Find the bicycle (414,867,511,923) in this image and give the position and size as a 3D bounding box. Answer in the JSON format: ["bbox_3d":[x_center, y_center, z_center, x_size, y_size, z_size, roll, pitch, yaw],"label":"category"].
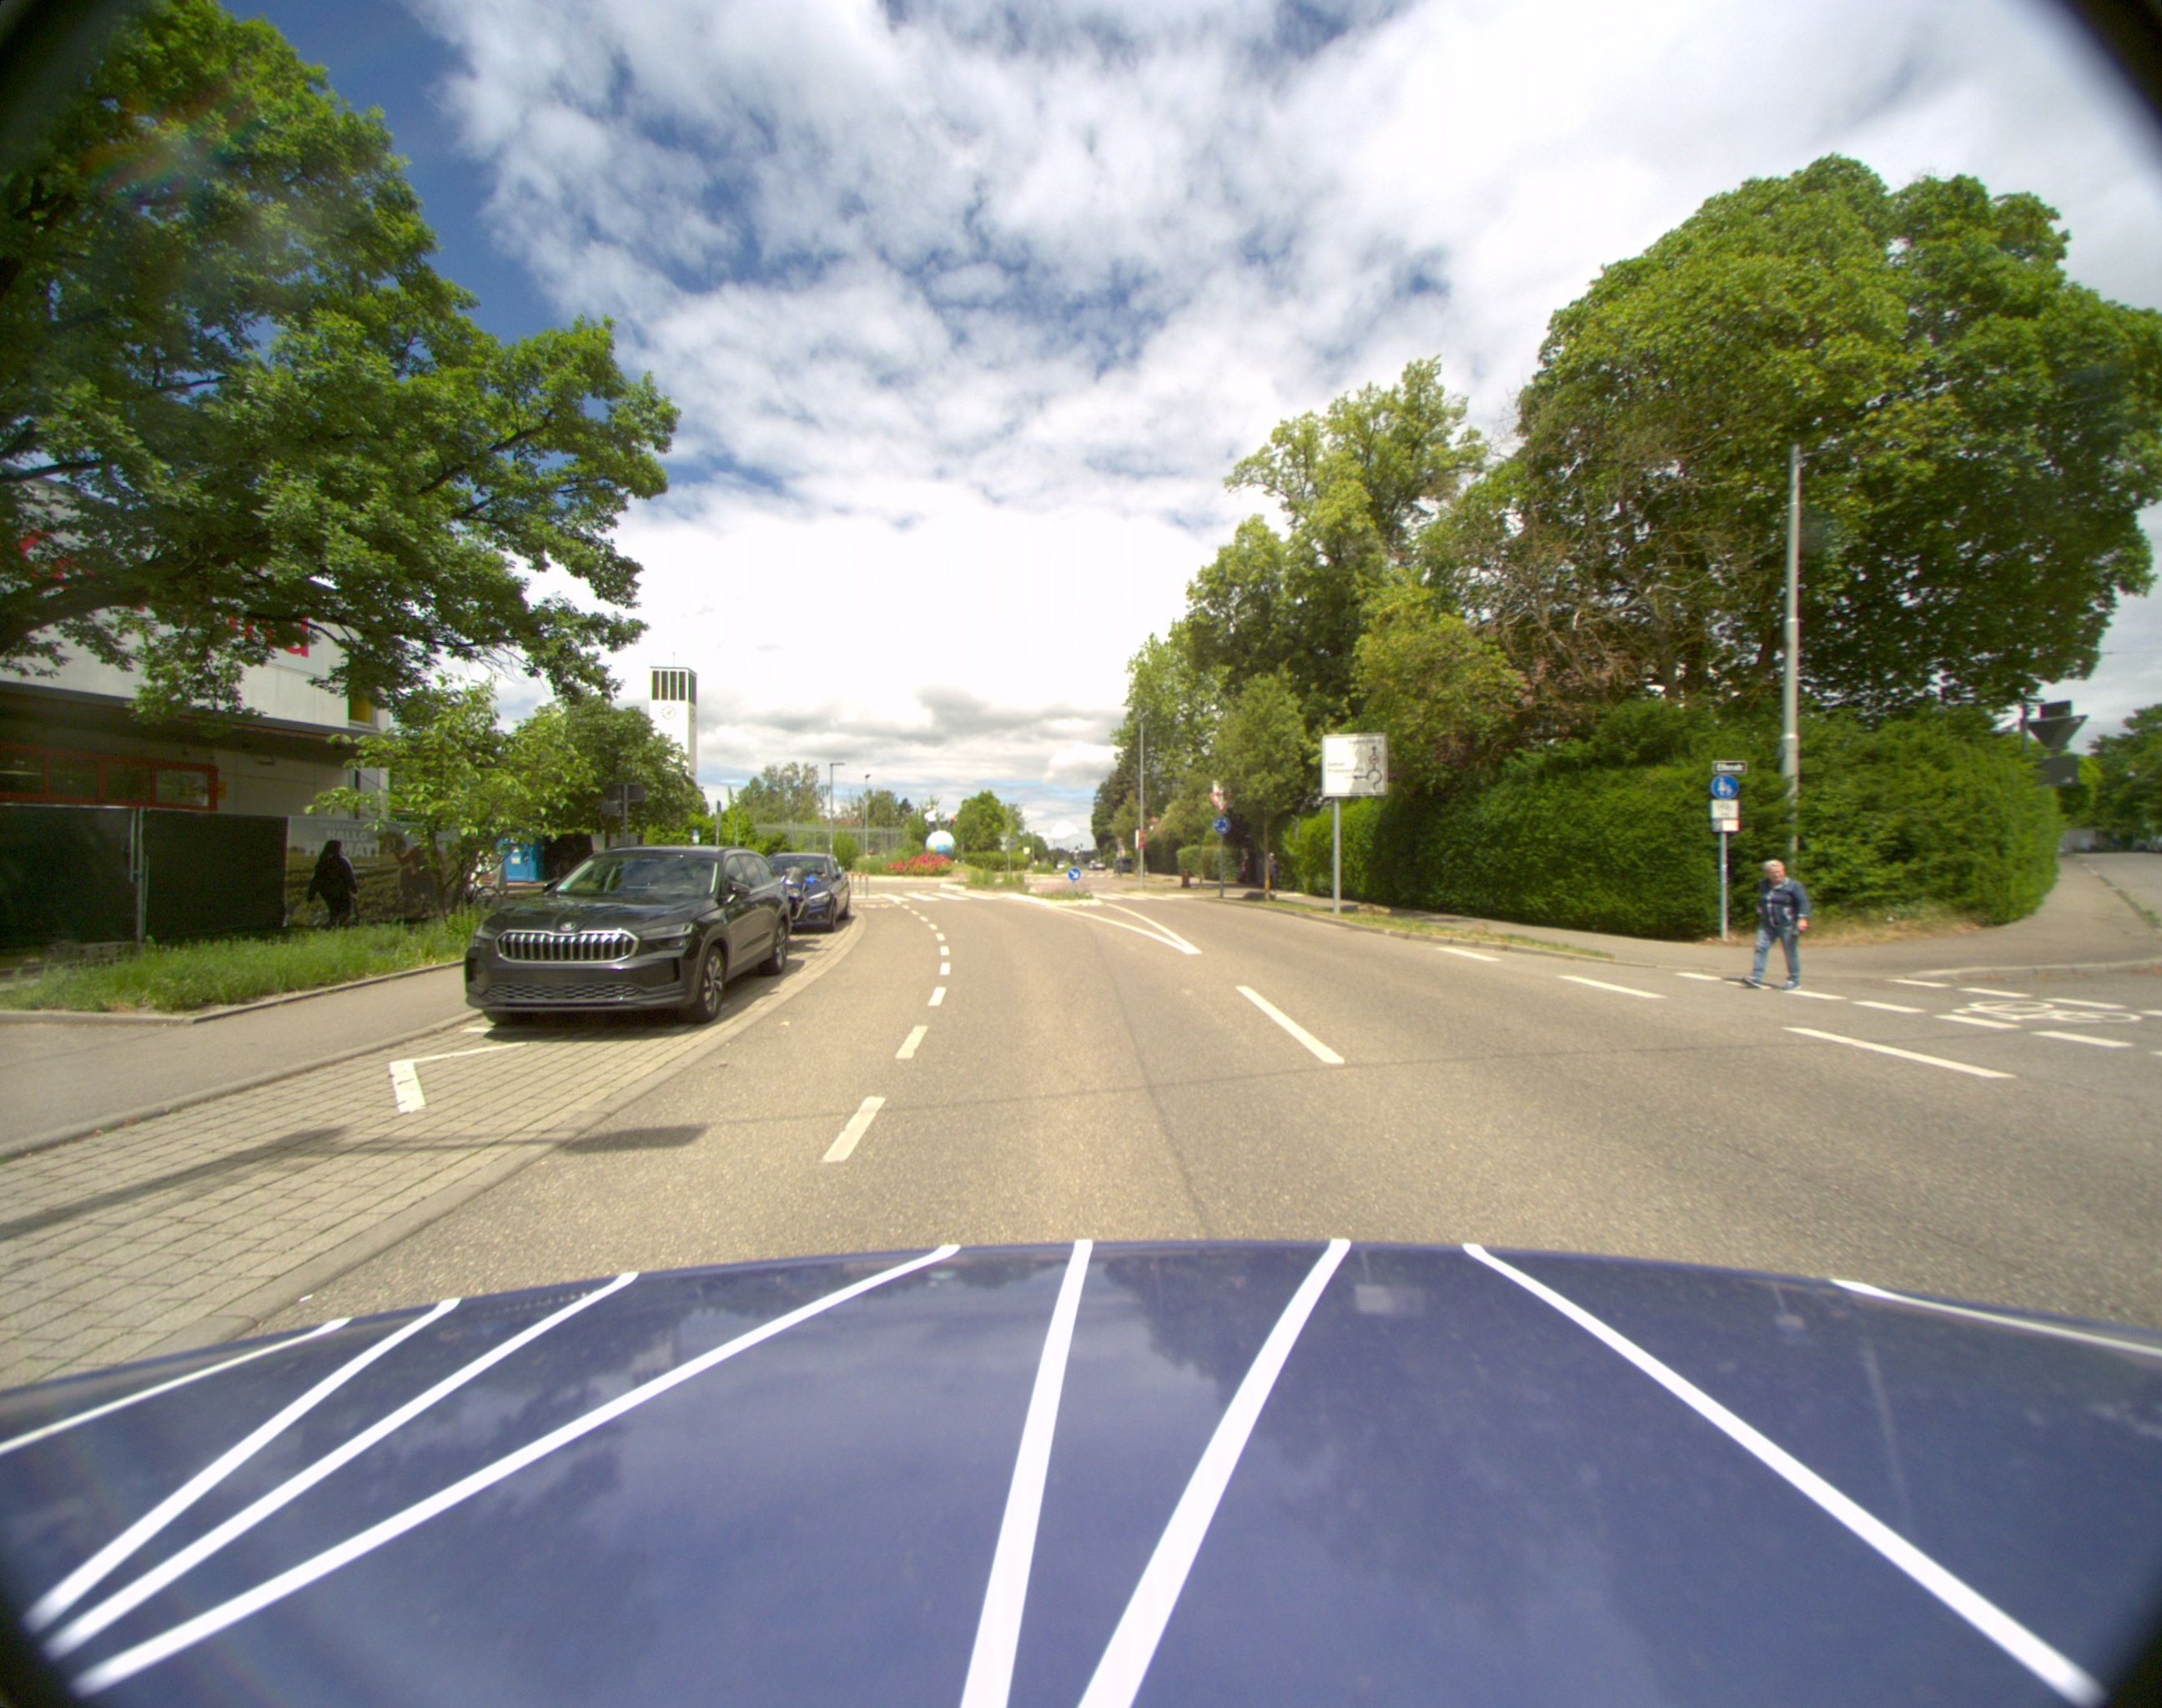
[{"bbox_3d":[-13.750,0.884,16.963,0.450,1.149,1.792,0,1,11],"label":"bicycle"}]

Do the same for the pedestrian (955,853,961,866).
[{"bbox_3d":[-16.027,0.727,99.130,0.608,1.687,0.566,-1,1,-18],"label":"pedestrian"}]

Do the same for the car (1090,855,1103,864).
[{"bbox_3d":[3.002,1.056,150.012,1.999,1.696,3.998,1,0,-5],"label":"car"}]

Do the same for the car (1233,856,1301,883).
[{"bbox_3d":[11.186,0.934,45.833,3.576,1.389,1.665,3,1,0],"label":"car"}]

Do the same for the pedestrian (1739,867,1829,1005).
[{"bbox_3d":[8.150,0.909,8.809,0.732,1.500,0.626,-1,1,-36],"label":"pedestrian"}]

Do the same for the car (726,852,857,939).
[{"bbox_3d":[-6.020,0.786,16.328,1.923,1.569,4.425,1,0,-12],"label":"car"}]

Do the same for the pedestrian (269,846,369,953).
[{"bbox_3d":[-11.870,0.682,11.863,0.744,1.608,0.767,0,1,-1],"label":"pedestrian"}]

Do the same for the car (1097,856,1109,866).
[{"bbox_3d":[3.419,1.077,118.900,1.862,1.568,3.999,-1,1,0],"label":"car"}]

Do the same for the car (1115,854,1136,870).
[{"bbox_3d":[4.644,0.826,79.828,1.681,1.652,3.998,0,0,-5],"label":"car"}]

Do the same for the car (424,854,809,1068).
[{"bbox_3d":[-4.483,0.839,8.377,1.885,1.612,4.842,1,0,-9],"label":"car"}]

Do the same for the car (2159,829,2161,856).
[{"bbox_3d":[78.134,-0.824,53.668,4.008,2.002,1.994,-1,0,-39],"label":"car"}]

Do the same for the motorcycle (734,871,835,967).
[{"bbox_3d":[-4.666,0.980,12.170,1.075,1.298,2.258,2,0,-11],"label":"motorcycle"}]

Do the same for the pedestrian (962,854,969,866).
[{"bbox_3d":[-15.179,0.809,99.576,0.765,1.548,0.601,-2,1,-18],"label":"pedestrian"}]

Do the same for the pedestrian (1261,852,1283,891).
[{"bbox_3d":[8.227,0.745,32.732,0.745,1.681,0.694,-1,1,1],"label":"pedestrian"}]

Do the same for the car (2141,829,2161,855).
[{"bbox_3d":[85.752,-0.964,60.068,4.008,2.002,1.994,-1,0,-39],"label":"car"}]
